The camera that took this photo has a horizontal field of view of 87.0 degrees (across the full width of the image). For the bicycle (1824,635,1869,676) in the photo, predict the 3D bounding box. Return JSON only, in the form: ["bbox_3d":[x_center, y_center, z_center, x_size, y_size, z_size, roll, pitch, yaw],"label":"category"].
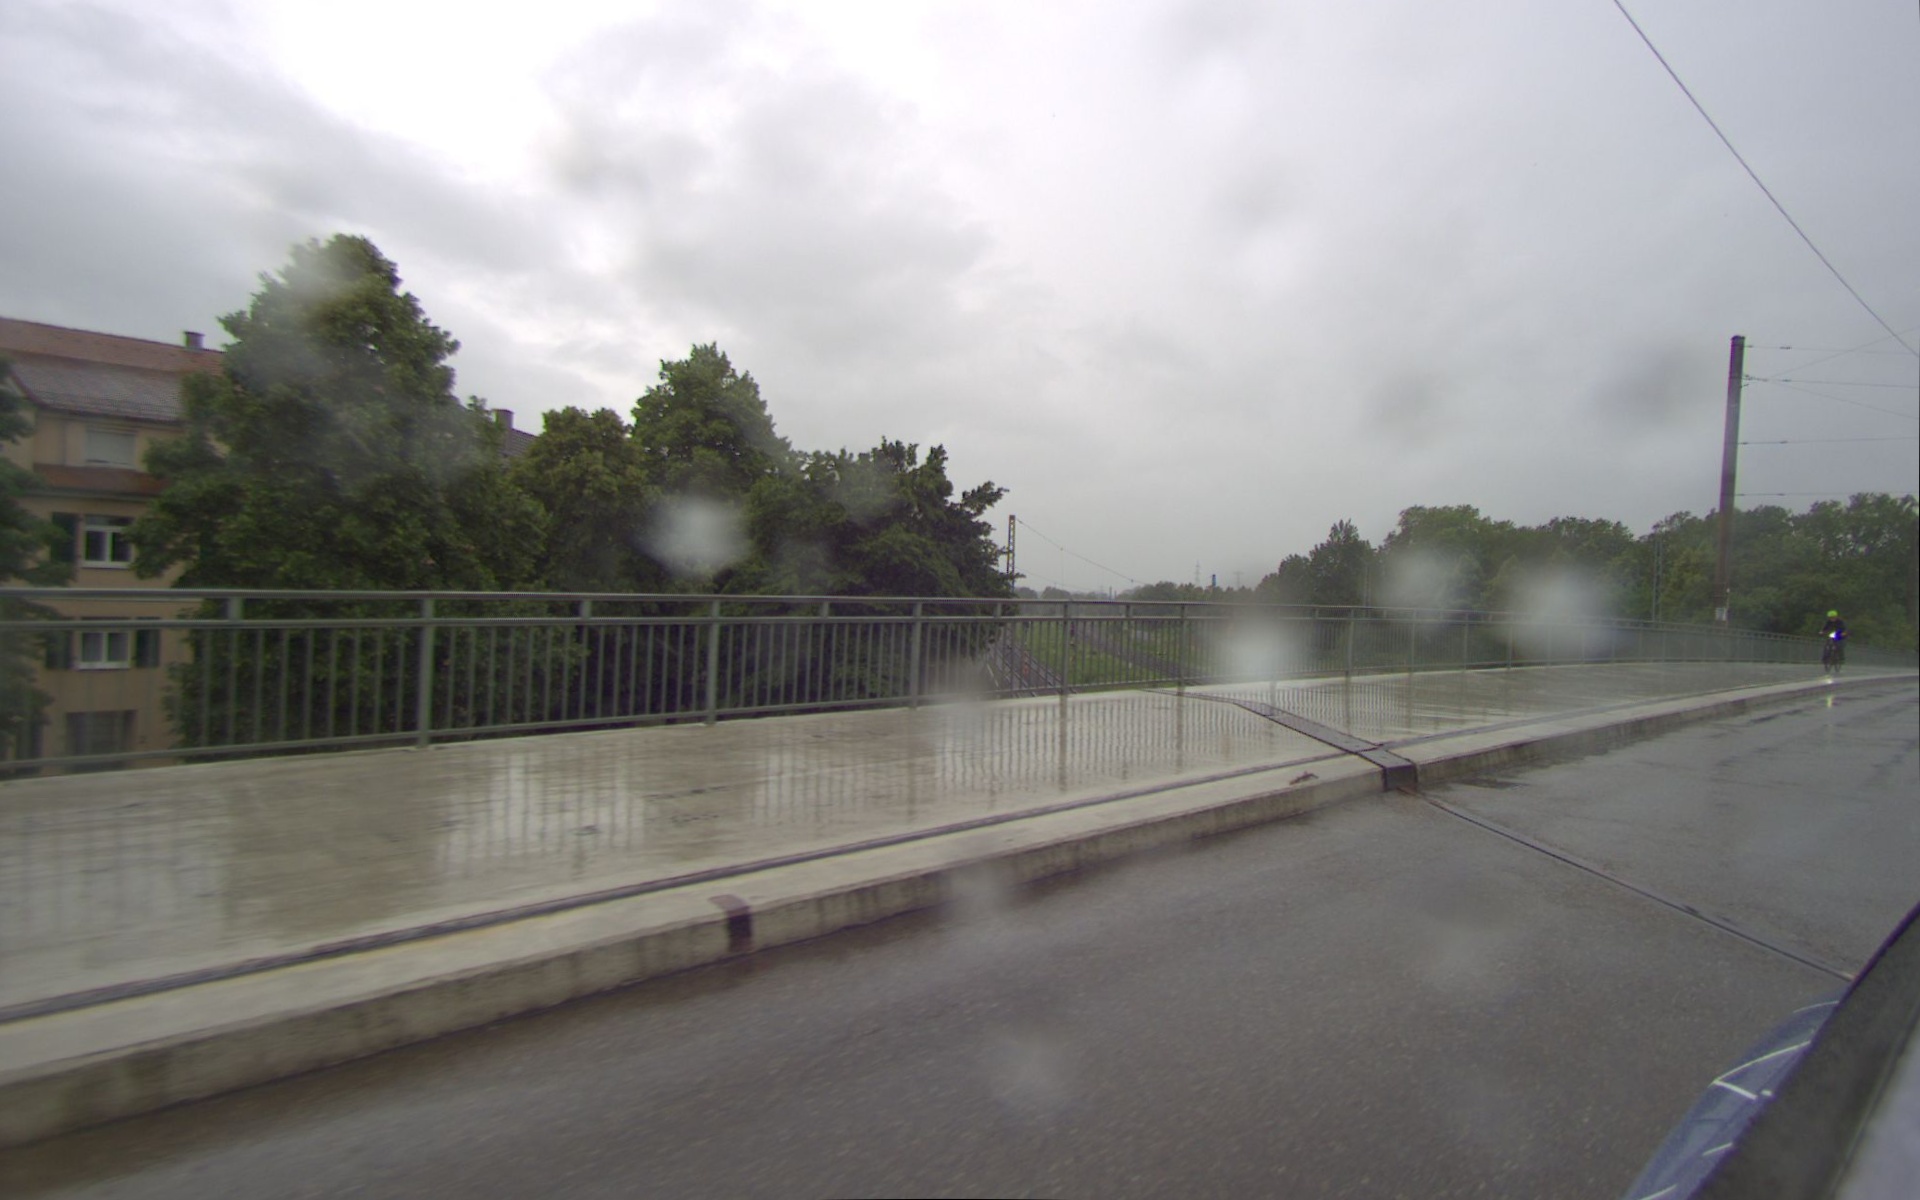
[{"bbox_3d":[26.356,1.638,30.072,2.129,1.143,0.724,2,-2,-41],"label":"bicycle"}]

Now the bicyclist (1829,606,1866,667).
[{"bbox_3d":[26.394,1.066,30.100,0.932,1.786,0.726,1,-1,-41],"label":"bicyclist"}]
